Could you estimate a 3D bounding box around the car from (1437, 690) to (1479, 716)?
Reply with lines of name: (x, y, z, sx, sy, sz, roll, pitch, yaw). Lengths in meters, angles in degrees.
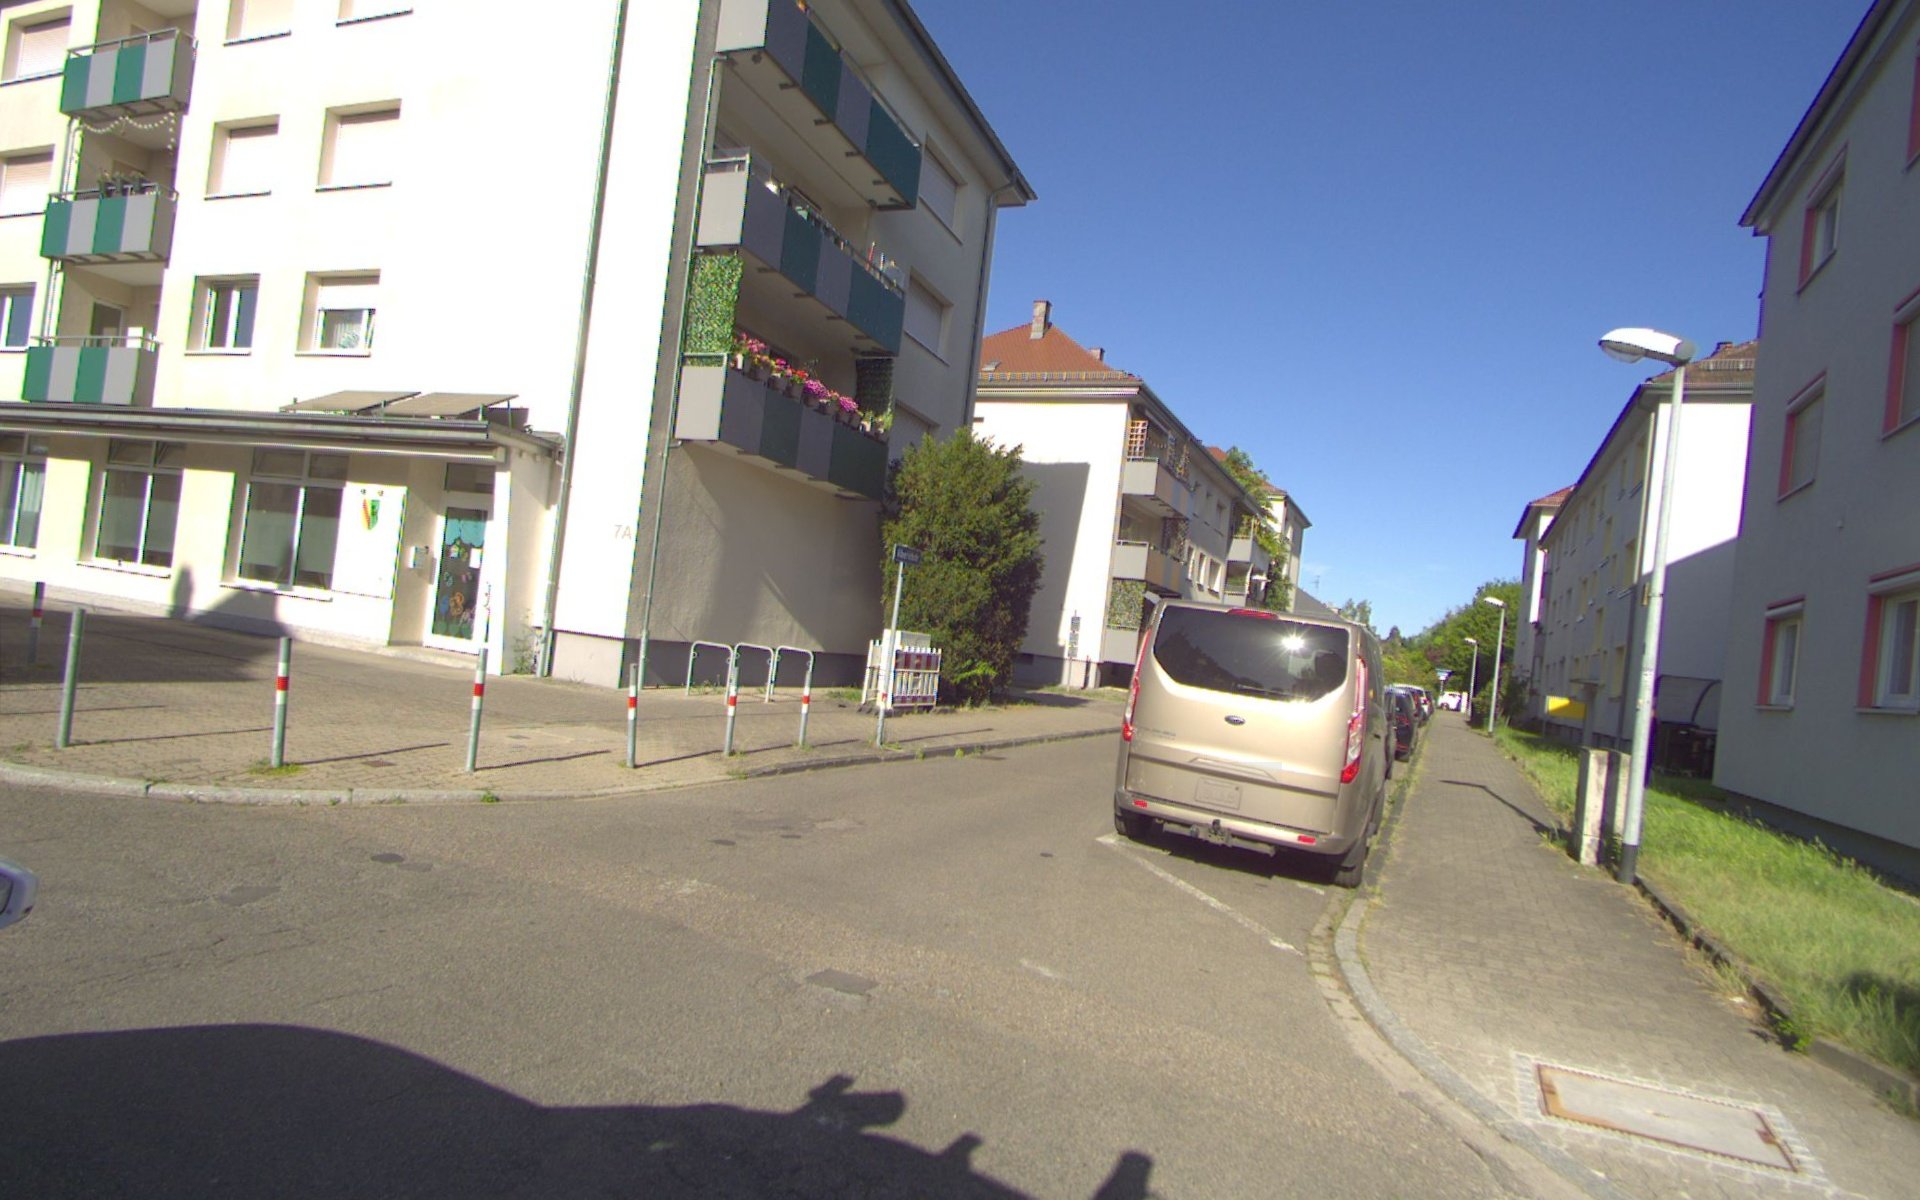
car: (40.276, 8.300, 81.410, 2.889, 1.649, 1.391, 6, 0, 25)

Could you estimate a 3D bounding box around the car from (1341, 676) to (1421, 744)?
car: (11.594, 2.959, 27.561, 1.650, 1.472, 4.078, 8, -1, 26)

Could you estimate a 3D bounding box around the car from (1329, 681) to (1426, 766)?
car: (9.366, 2.689, 22.432, 1.650, 1.472, 3.484, 8, -1, 26)

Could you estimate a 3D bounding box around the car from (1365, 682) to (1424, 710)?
car: (36.279, 7.987, 83.982, 4.227, 1.694, 1.997, 6, 0, 27)

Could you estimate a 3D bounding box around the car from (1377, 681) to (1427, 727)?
car: (18.917, 4.415, 42.996, 1.650, 1.592, 4.078, 8, -1, 26)

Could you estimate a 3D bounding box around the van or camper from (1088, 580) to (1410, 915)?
van or camper: (2.971, 1.187, 9.513, 1.964, 2.037, 5.141, 8, -1, 23)

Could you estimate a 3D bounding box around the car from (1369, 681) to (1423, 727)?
car: (17.076, 4.022, 39.305, 1.650, 1.472, 4.078, 8, -1, 26)

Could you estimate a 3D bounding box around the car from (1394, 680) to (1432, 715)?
car: (26.642, 5.696, 59.094, 1.709, 1.714, 4.242, 8, -1, 26)
